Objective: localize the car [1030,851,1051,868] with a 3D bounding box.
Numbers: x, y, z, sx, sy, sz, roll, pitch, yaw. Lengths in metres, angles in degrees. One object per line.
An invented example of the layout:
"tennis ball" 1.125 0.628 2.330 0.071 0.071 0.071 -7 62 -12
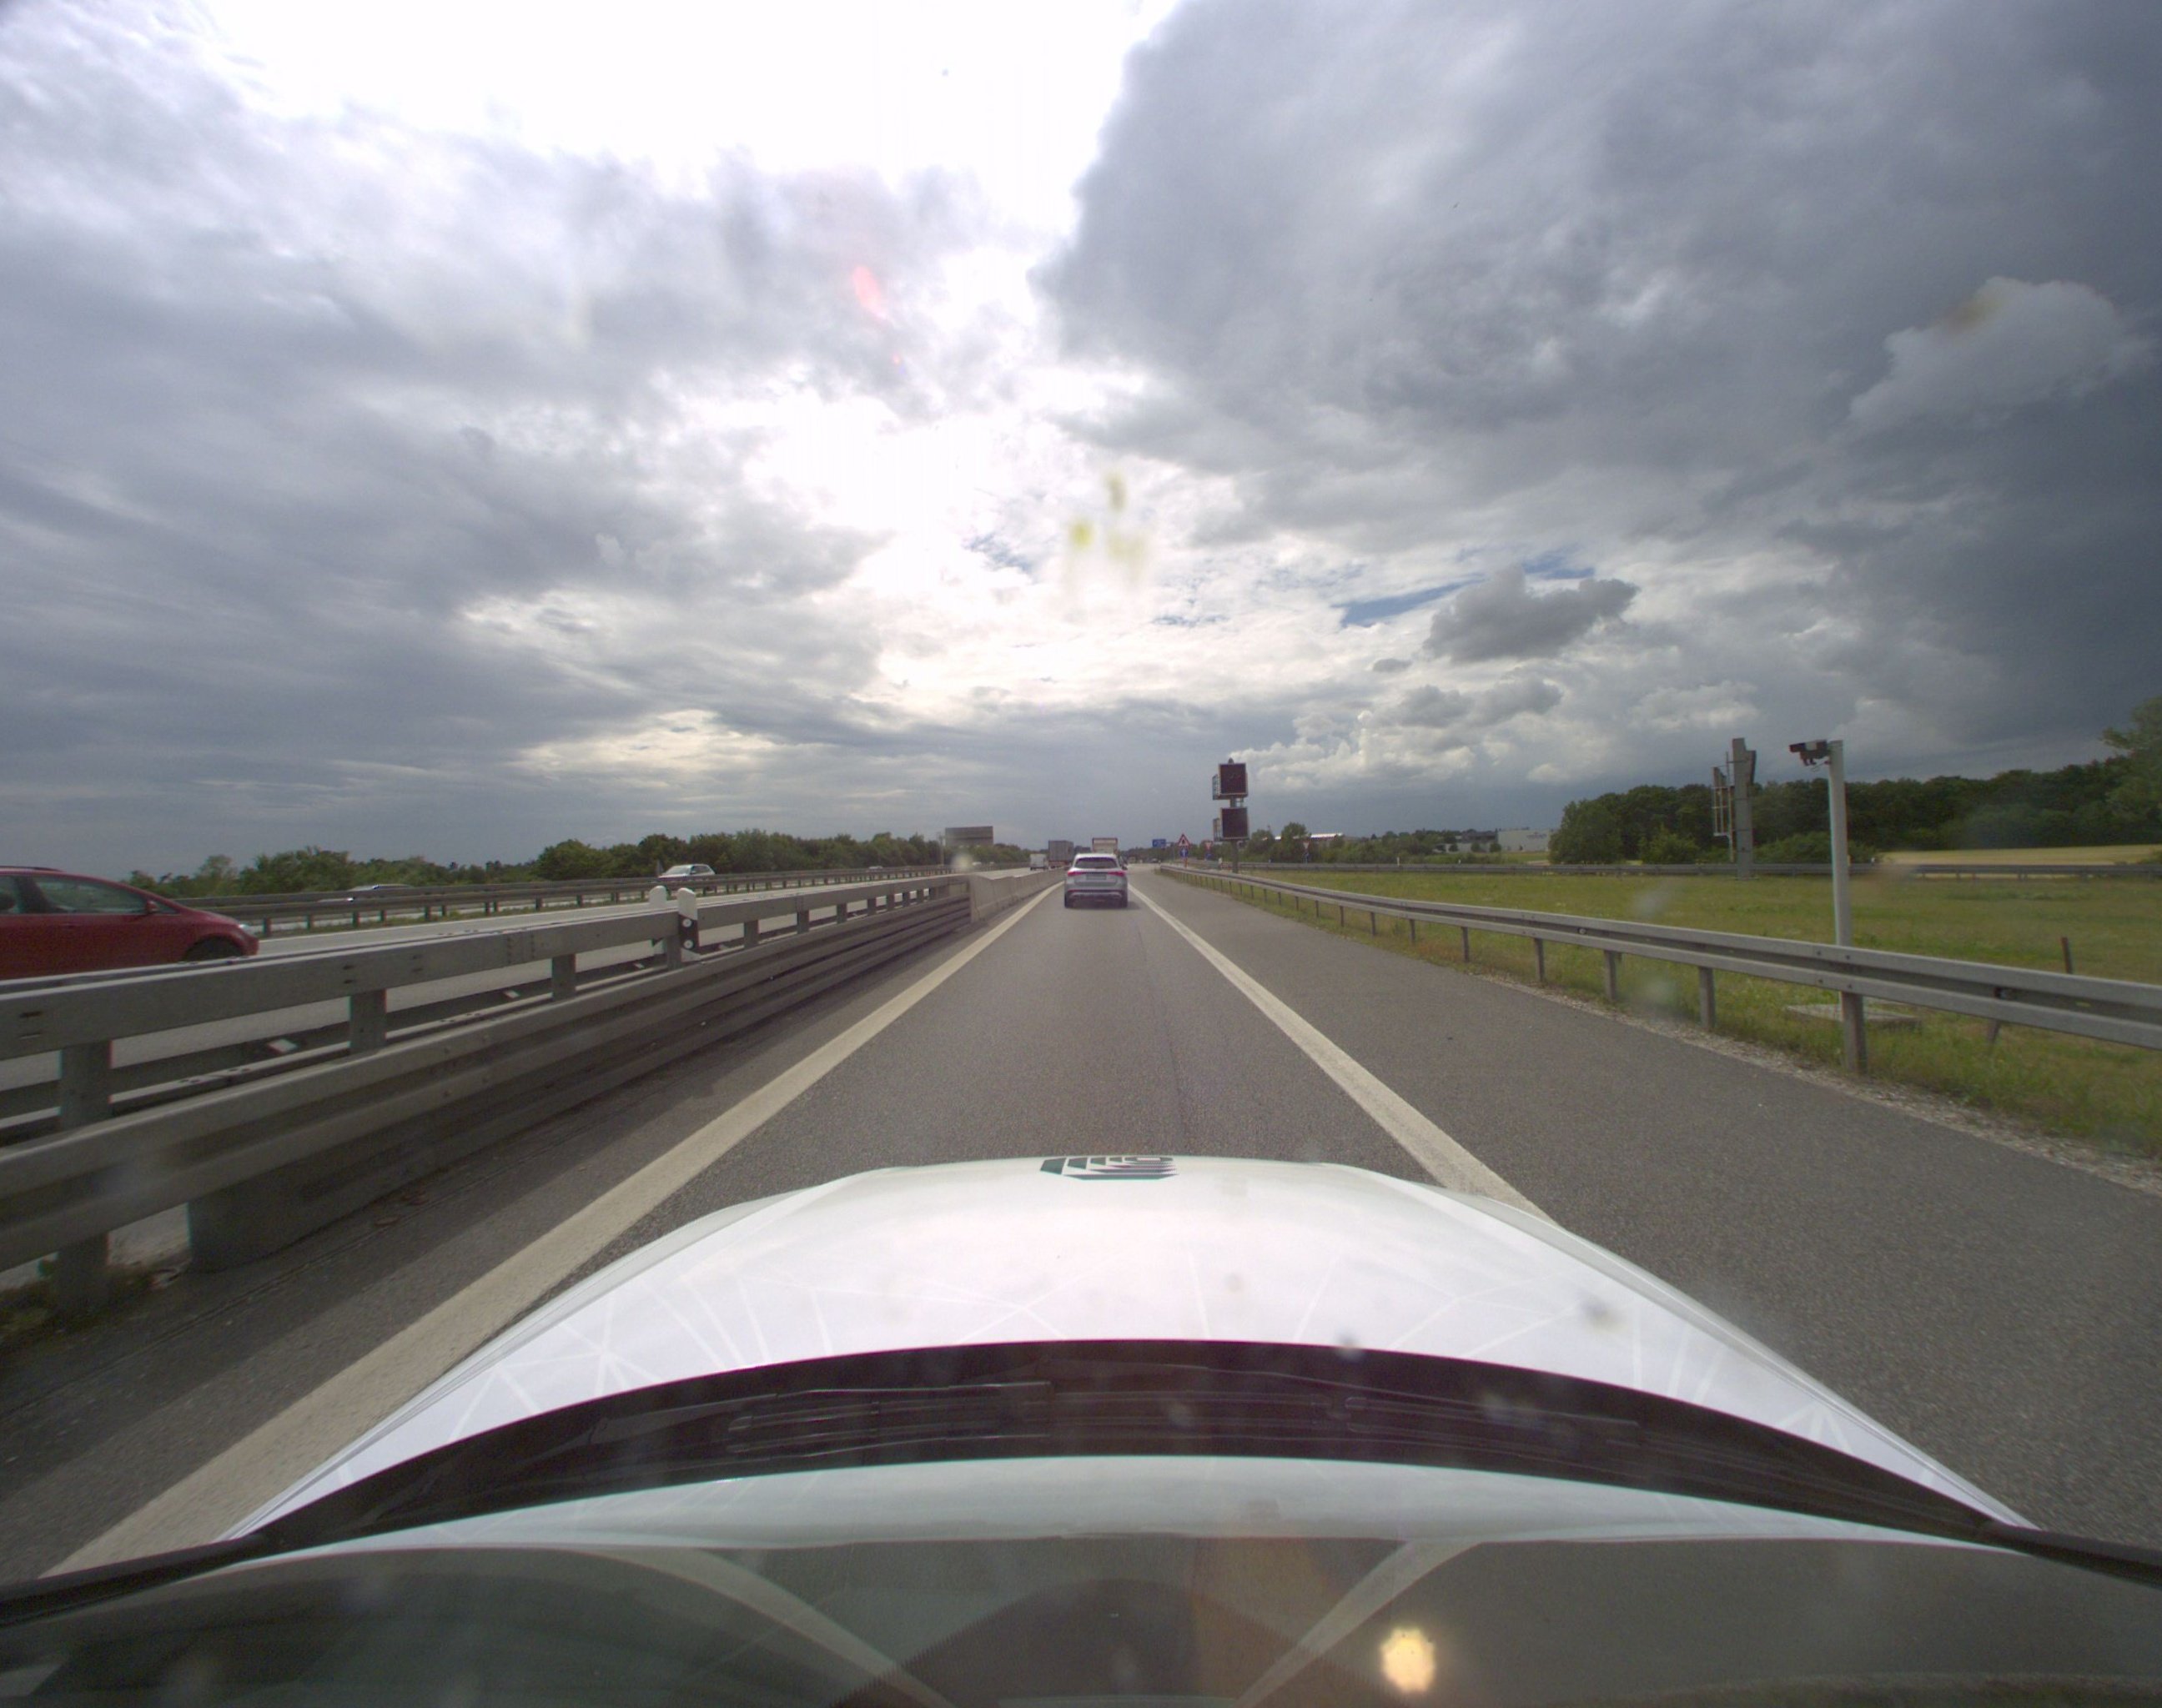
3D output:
"car" -4.962 0.632 99.576 1.984 2.013 4.380 0 1 5

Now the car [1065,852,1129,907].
"car" 0.557 0.715 25.249 1.812 1.514 4.003 0 1 3

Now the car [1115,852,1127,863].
"car" 7.821 0.692 159.021 1.984 2.013 4.380 0 1 5

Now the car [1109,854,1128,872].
"car" 4.373 1.046 94.388 1.984 2.013 4.006 0 1 5

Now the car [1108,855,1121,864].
"car" 4.959 0.834 120.703 1.688 1.288 4.006 -1 0 5

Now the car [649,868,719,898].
"car" -24.253 1.754 49.941 1.736 1.622 4.523 0 1 4

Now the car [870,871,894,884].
"car" -26.113 3.070 106.924 1.820 1.706 4.006 0 0 6

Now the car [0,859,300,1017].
"car" -11.904 0.889 9.188 1.812 1.545 4.359 0 1 3

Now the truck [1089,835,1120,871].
"truck" 2.223 -0.055 74.055 2.558 3.126 8.640 0 0 3

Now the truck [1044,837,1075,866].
"truck" -3.096 -0.466 121.936 3.169 4.018 16.092 0 1 4
